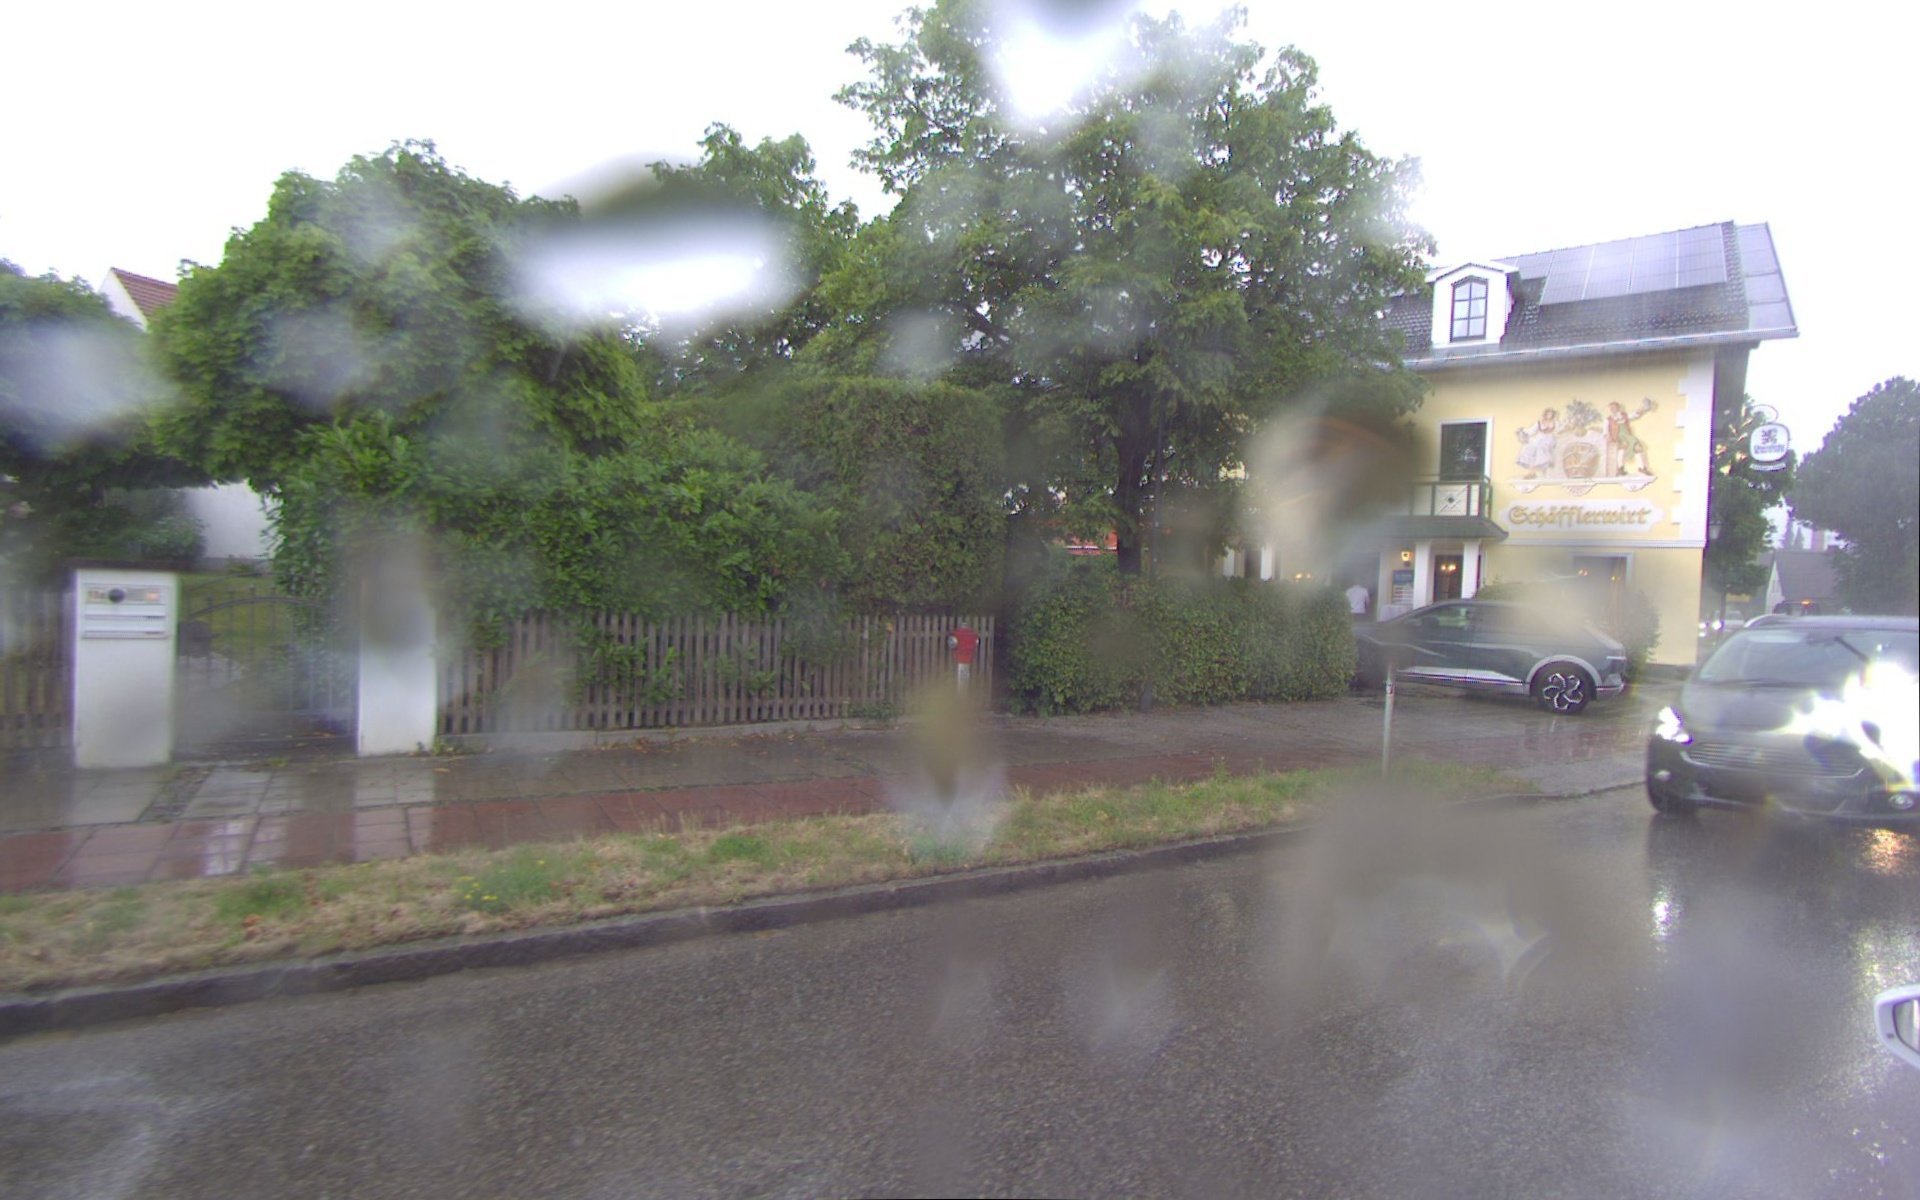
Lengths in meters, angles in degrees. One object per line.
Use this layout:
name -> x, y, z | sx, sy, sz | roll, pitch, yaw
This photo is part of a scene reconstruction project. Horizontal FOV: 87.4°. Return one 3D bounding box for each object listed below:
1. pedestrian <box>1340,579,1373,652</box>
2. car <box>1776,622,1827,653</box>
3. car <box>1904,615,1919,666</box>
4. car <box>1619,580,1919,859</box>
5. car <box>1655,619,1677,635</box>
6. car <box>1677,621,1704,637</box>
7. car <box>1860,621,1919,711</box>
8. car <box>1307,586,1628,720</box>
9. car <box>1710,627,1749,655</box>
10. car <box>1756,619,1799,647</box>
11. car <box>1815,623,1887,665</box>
pedestrian -> 9.603, 0.375, 24.350 | 0.484, 1.712, 0.552 | 6, 4, 38
car -> 58.960, 2.585, 70.443 | 2.139, 1.925, 4.999 | 3, 2, 34
car -> 37.242, 1.585, 37.452 | 2.139, 1.924, 4.999 | 3, 0, 34
car -> 7.246, 0.807, 8.277 | 4.157, 1.767, 1.907 | 2, -1, -40
car -> 78.126, 2.992, 111.149 | 1.838, 1.781, 4.468 | -2, -2, 35
car -> 69.013, 2.721, 94.904 | 1.836, 1.377, 4.471 | 0, 0, 33
car -> 19.841, 1.309, 20.381 | 1.729, 1.699, 3.990 | 0, -2, 33
car -> 8.238, 0.744, 16.504 | 4.413, 1.589, 1.834 | 6, 5, 33
car -> 56.131, 2.985, 73.325 | 1.825, 1.997, 4.690 | 0, -2, 33
car -> 64.681, 2.559, 79.528 | 2.139, 1.925, 4.999 | 3, 2, 34
car -> 47.683, 2.312, 53.880 | 2.139, 1.925, 4.999 | 3, 2, 34
